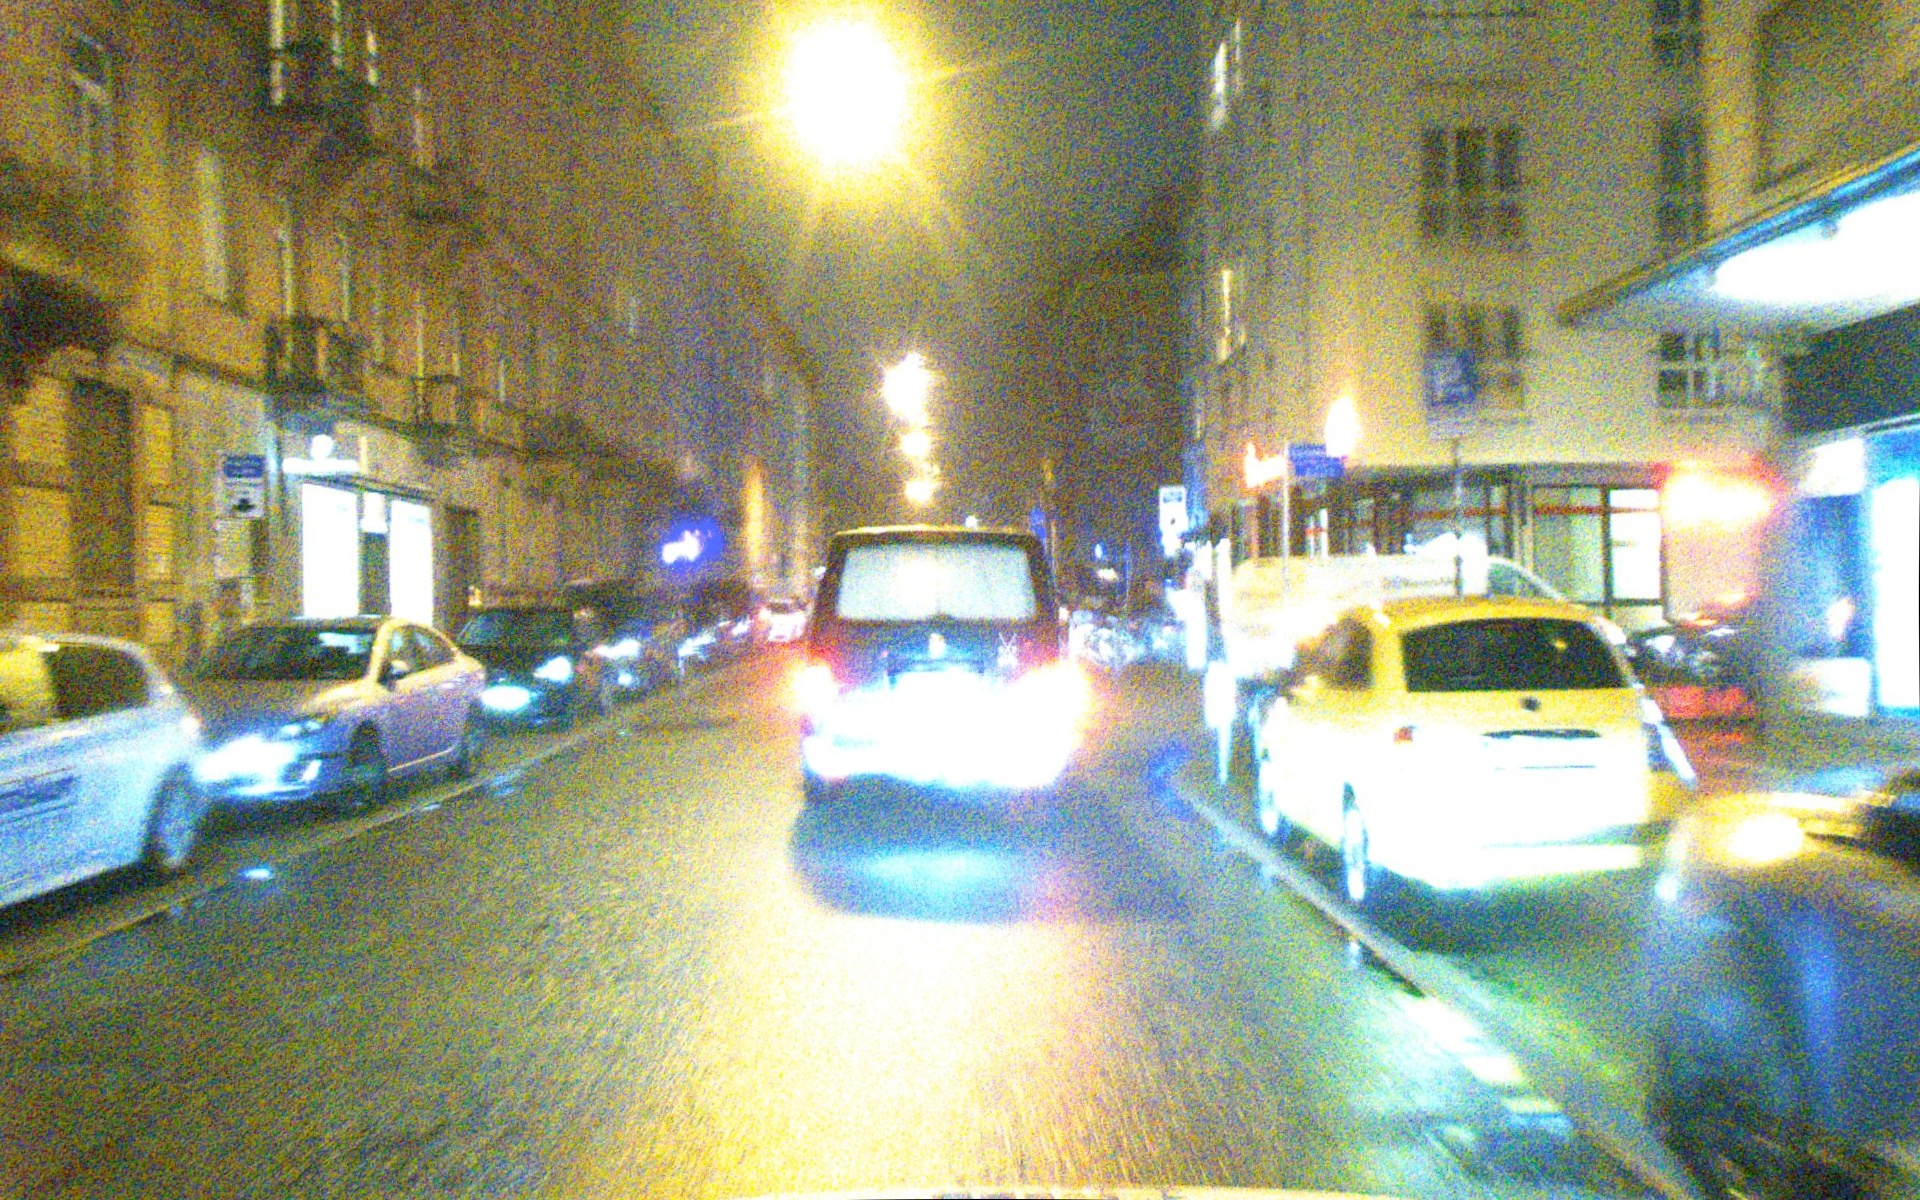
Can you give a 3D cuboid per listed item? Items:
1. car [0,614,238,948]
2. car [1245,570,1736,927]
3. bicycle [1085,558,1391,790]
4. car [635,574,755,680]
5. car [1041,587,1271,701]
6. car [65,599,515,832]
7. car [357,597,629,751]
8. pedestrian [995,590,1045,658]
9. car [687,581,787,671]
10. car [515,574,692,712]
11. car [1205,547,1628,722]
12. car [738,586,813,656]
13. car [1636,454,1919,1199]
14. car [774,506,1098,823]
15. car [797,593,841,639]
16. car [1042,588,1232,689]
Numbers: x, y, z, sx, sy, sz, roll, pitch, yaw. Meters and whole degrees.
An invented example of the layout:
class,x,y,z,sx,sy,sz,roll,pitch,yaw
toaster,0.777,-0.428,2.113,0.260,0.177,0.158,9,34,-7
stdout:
class,x,y,z,sx,sy,sz,roll,pitch,yaw
car,-5.096,0.822,7.633,1.656,1.425,4.316,1,0,-1
car,2.648,0.680,9.038,1.559,1.570,3.419,0,-1,-1
bicycle,2.238,0.591,13.541,2.272,1.667,0.889,-5,-1,6
car,-5.463,0.543,34.608,1.953,2.049,3.998,1,0,-2
car,3.771,0.831,32.026,3.925,2.049,1.990,-1,-2,-18
car,-5.065,0.763,13.283,1.718,1.474,4.622,2,0,0
car,-4.970,0.739,18.186,1.953,1.474,3.998,1,0,-2
pedestrian,1.544,0.629,42.660,1.201,1.705,0.697,-1,-2,-1
car,-5.379,0.611,40.354,1.953,2.049,3.999,1,0,-1
car,-5.336,0.617,25.298,1.954,1.895,4.092,1,0,-3
car,5.614,0.380,20.400,4.741,1.956,2.116,0,0,-21
car,-5.733,0.643,51.754,1.953,2.049,3.999,1,0,-2
car,2.819,0.520,2.659,1.718,1.636,3.987,0,-1,-2
car,-0.304,0.403,12.965,2.081,2.026,4.597,0,0,-4
car,-6.456,0.726,75.958,1.714,2.049,3.999,1,0,-2
car,3.845,0.846,36.404,3.906,2.049,1.999,-1,-1,-1
